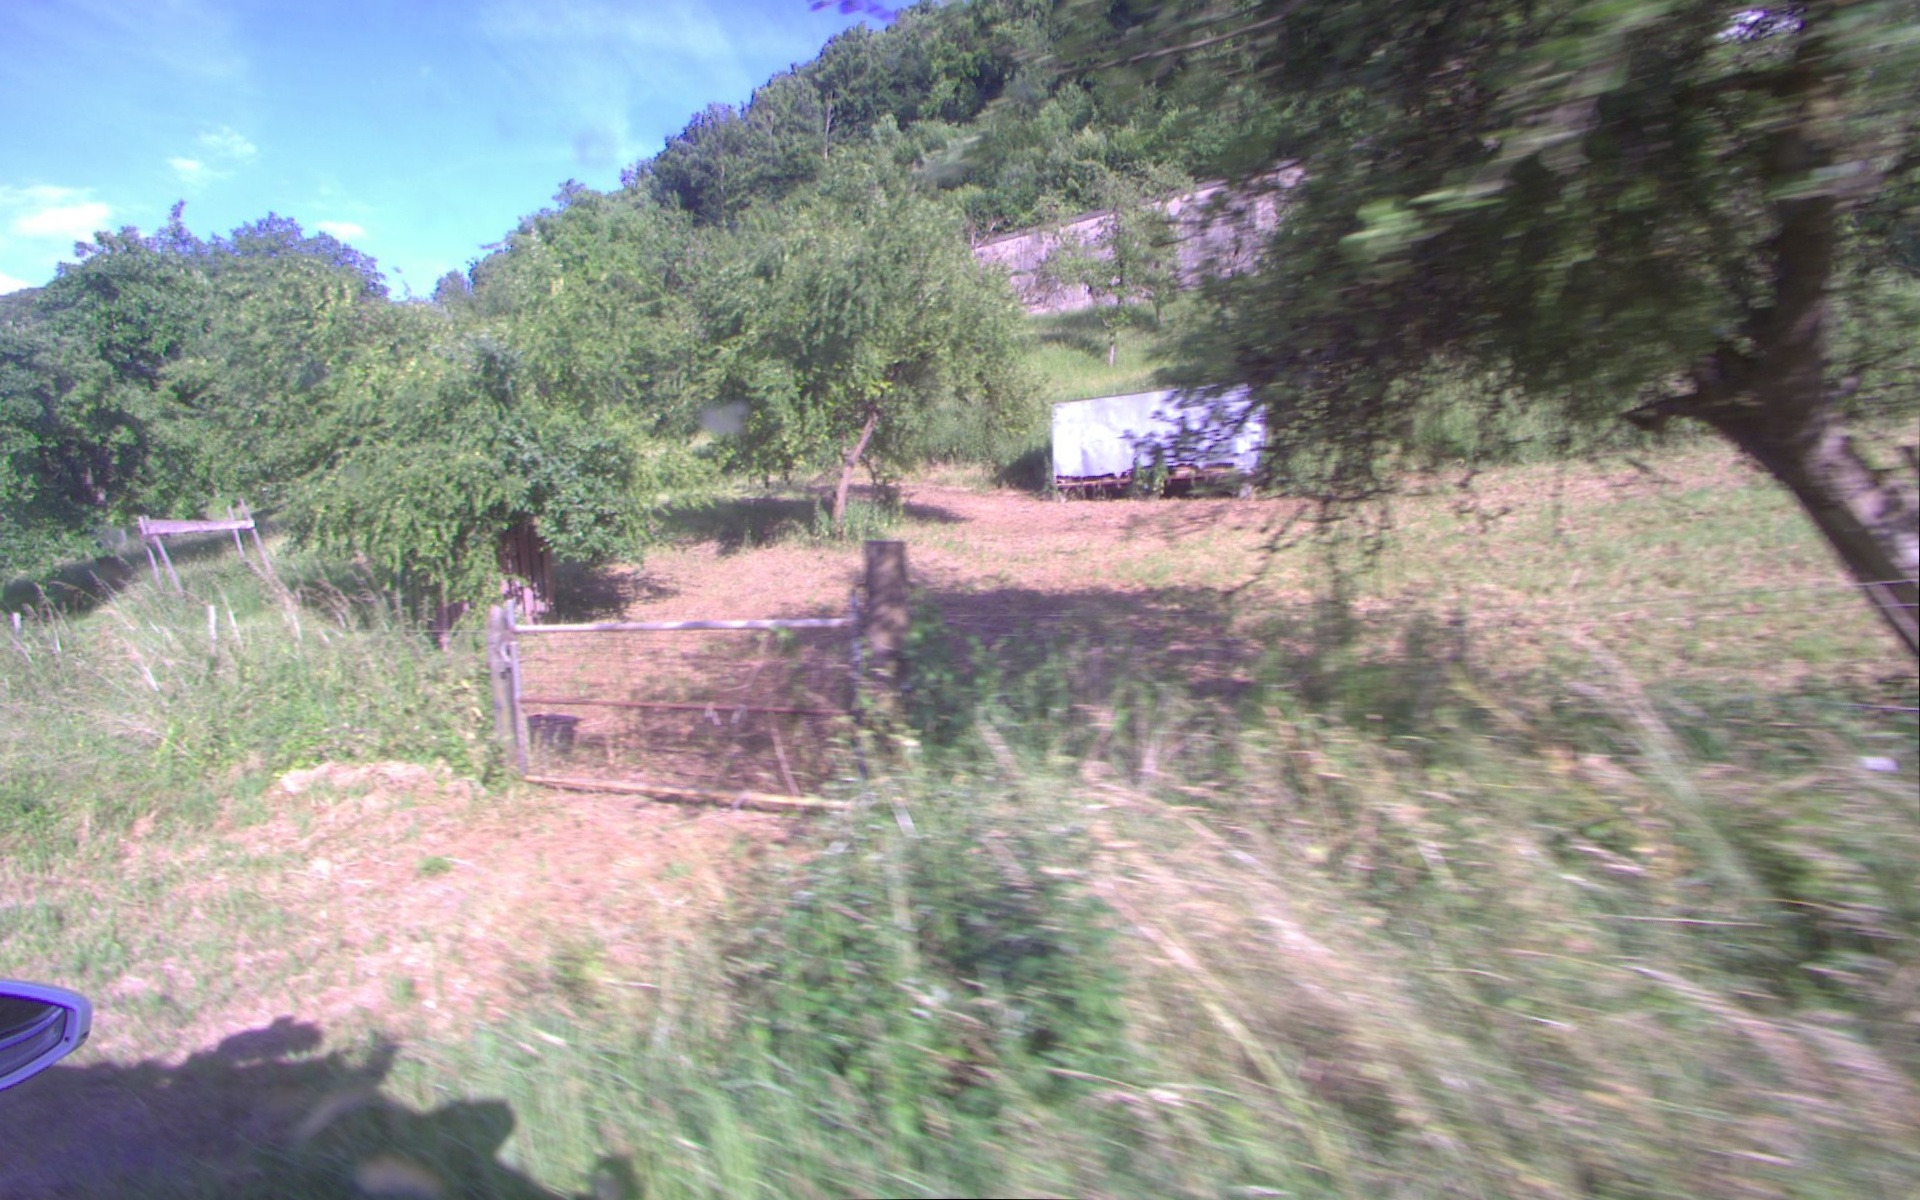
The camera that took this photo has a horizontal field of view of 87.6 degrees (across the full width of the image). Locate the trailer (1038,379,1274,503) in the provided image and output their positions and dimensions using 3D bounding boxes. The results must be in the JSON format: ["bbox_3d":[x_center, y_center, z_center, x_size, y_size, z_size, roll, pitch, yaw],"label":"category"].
[{"bbox_3d":[4.696,-3.708,24.235,5.164,2.595,2.149,3,4,28],"label":"trailer"}]
